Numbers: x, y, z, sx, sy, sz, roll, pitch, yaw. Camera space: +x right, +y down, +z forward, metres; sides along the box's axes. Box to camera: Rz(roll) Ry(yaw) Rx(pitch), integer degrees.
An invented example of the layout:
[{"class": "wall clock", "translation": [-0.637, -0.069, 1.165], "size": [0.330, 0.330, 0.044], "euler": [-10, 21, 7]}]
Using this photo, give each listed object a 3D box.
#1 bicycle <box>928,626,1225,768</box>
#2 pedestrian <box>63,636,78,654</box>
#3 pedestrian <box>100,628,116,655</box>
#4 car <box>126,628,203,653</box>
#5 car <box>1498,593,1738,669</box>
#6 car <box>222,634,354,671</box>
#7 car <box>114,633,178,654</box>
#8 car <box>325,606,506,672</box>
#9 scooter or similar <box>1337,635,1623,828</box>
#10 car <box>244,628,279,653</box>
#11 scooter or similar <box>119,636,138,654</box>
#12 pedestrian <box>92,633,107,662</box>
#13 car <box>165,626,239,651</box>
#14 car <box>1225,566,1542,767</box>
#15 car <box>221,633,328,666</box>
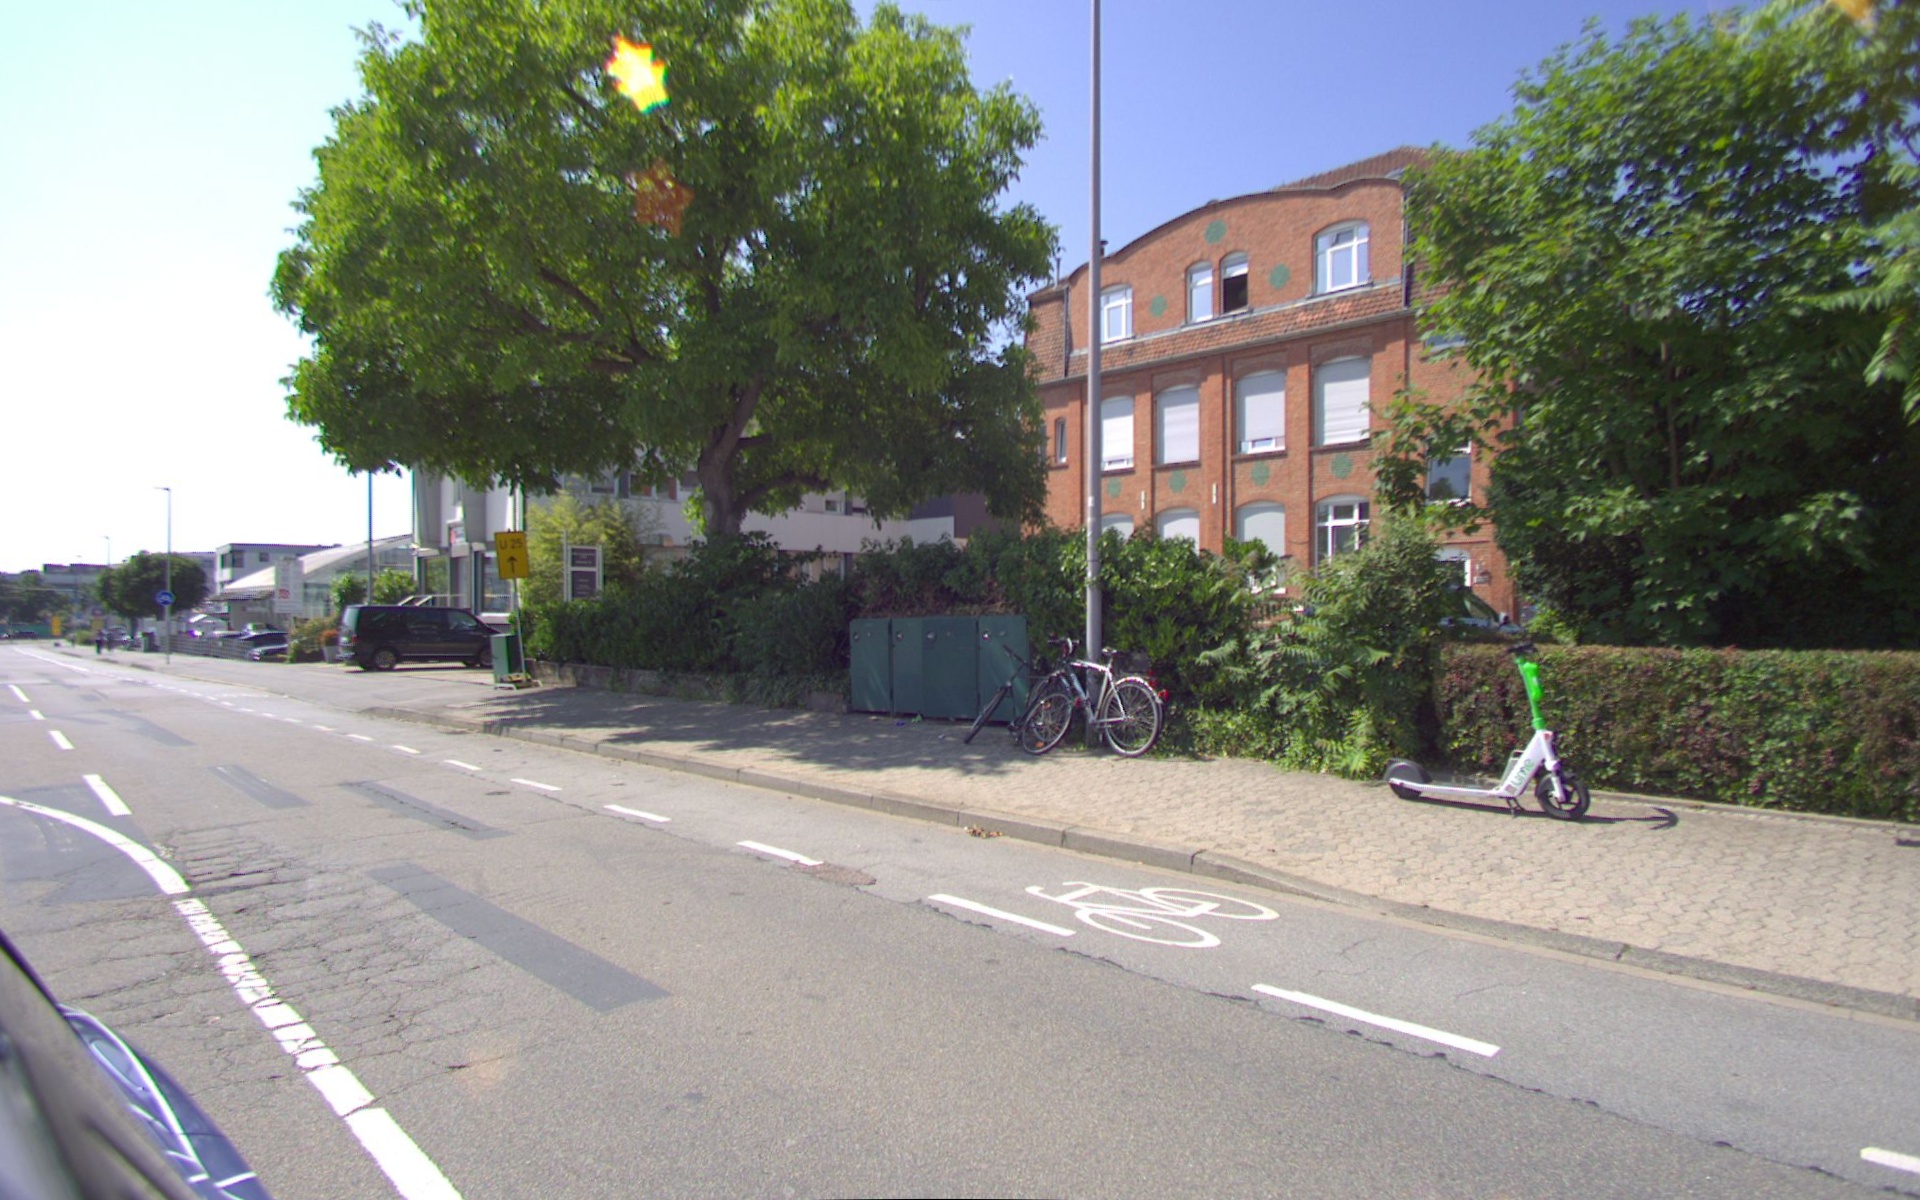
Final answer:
[{"class": "bicycle", "translation": [1.050, 0.863, 9.861], "size": [2.765, 1.126, 1.016], "euler": [-2, 2, 43]}, {"class": "pedestrian", "translation": [-85.414, 4.302, 97.211], "size": [0.980, 1.698, 0.801], "euler": [0, -2, -34]}, {"class": "pedestrian", "translation": [-60.217, 2.914, 71.512], "size": [0.911, 1.862, 0.715], "euler": [-2, -2, 41]}, {"class": "car", "translation": [-59.753, 3.018, 76.115], "size": [1.838, 1.709, 4.566], "euler": [-2, -1, 10]}, {"class": "car", "translation": [15.256, 0.709, 23.570], "size": [4.404, 1.645, 2.161], "euler": [0, -1, -12]}, {"class": "car", "translation": [-30.465, 2.359, 45.994], "size": [2.048, 1.492, 4.686], "euler": [-2, -2, 44]}, {"class": "car", "translation": [-67.595, 3.569, 84.081], "size": [1.882, 1.470, 4.158], "euler": [-2, 0, 2]}, {"class": "car", "translation": [-16.738, 1.188, 31.239], "size": [4.513, 1.880, 2.094], "euler": [2, -3, -44]}, {"class": "scooter or similar", "translation": [3.545, 0.841, 6.966], "size": [1.621, 1.136, 0.640], "euler": [-2, 1, 39]}, {"class": "car", "translation": [-51.403, 2.971, 74.422], "size": [1.967, 1.696, 4.009], "euler": [-1, -1, -36]}, {"class": "scooter or similar", "translation": [-59.841, 3.259, 72.822], "size": [1.488, 1.257, 0.737], "euler": [-2, -1, 38]}, {"class": "pedestrian", "translation": [-57.070, 3.116, 67.108], "size": [0.723, 1.882, 1.049], "euler": [0, -2, -39]}, {"class": "car", "translation": [-54.227, 2.738, 72.453], "size": [1.841, 1.562, 3.981], "euler": [-2, -1, 14]}, {"class": "car", "translation": [4.813, 0.758, 11.282], "size": [3.718, 1.855, 1.789], "euler": [5, -5, -41]}, {"class": "car", "translation": [-35.432, 2.545, 52.402], "size": [1.994, 1.570, 4.251], "euler": [-2, -2, 41]}]
